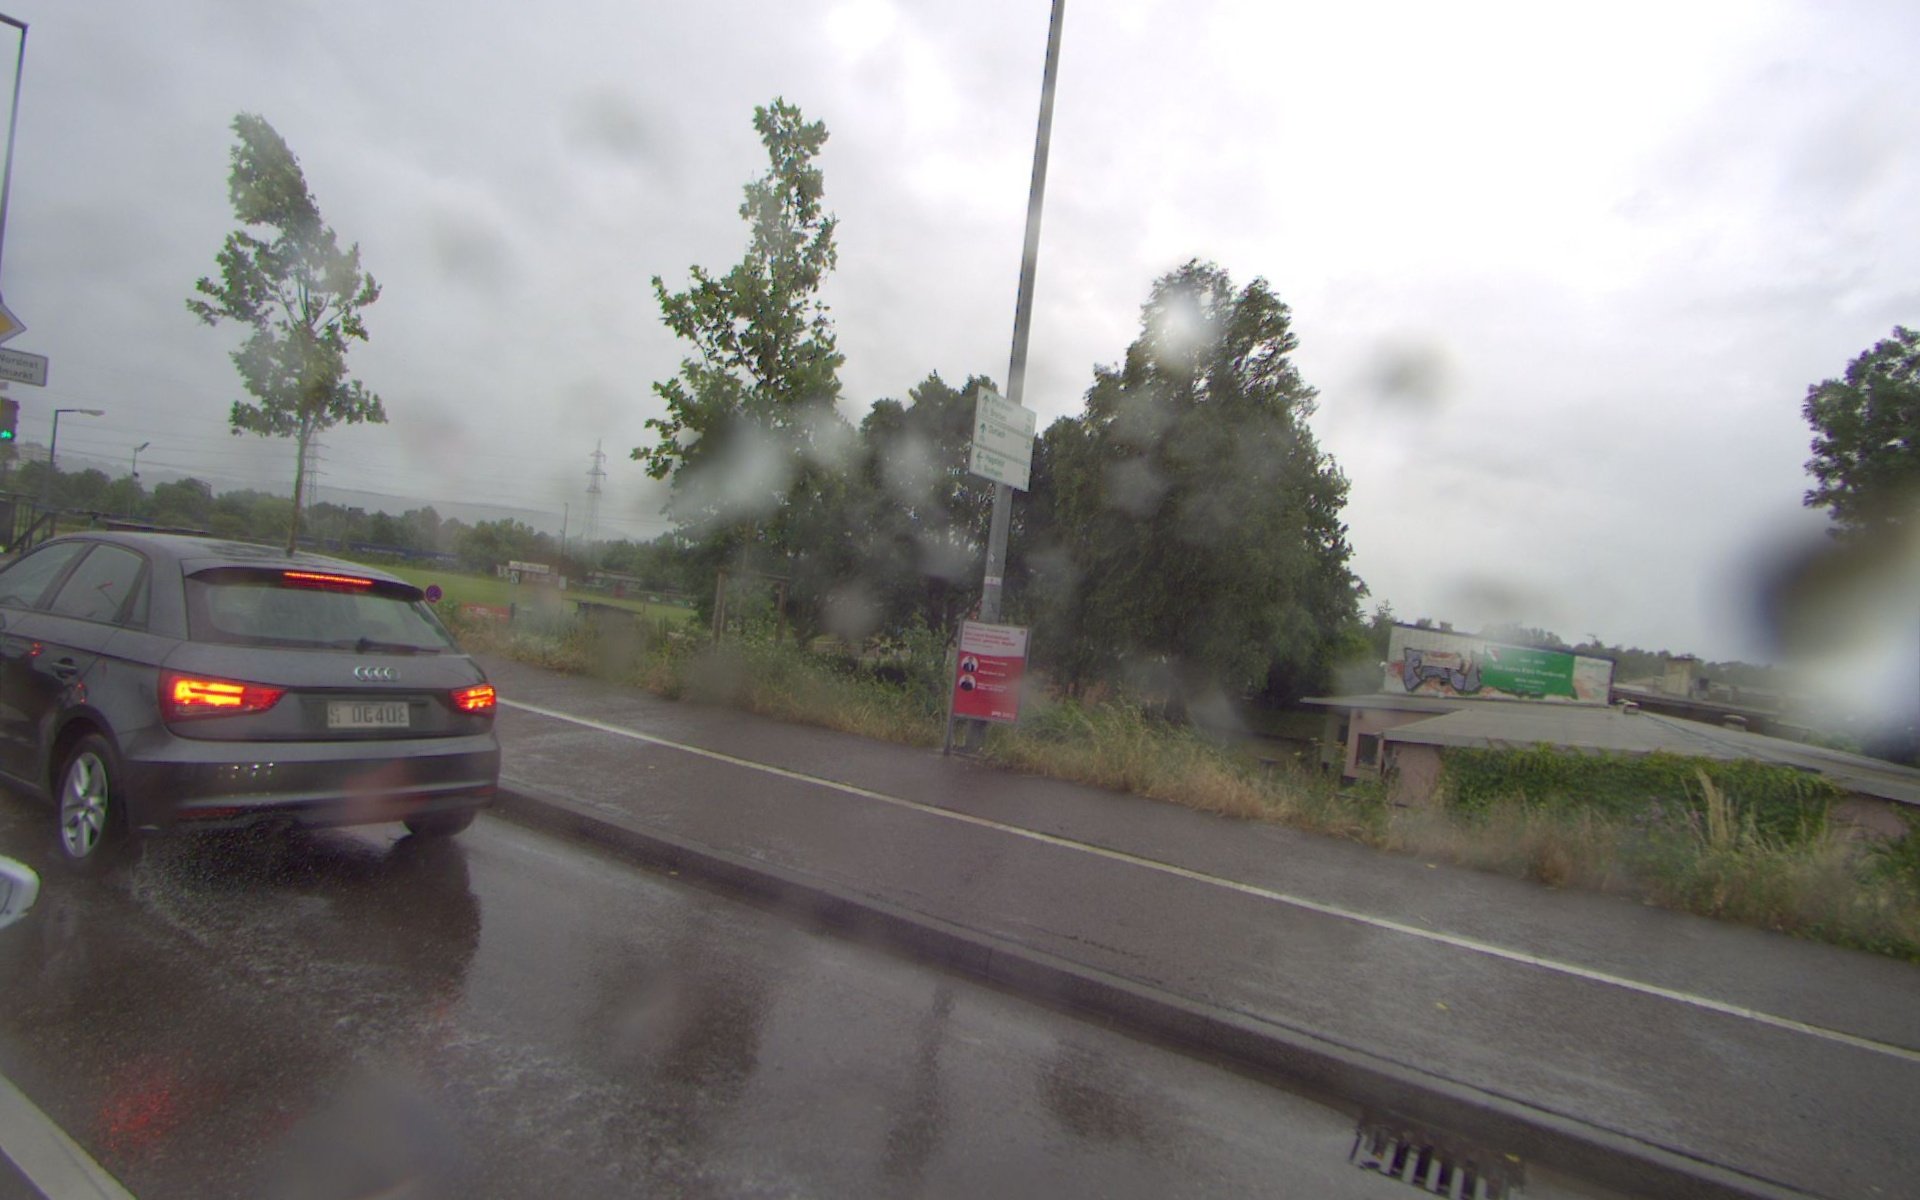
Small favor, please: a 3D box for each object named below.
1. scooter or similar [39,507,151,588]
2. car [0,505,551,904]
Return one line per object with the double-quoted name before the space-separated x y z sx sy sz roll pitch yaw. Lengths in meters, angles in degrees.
"scooter or similar" -16.010 -0.993 18.578 2.971 1.226 0.691 7 0 33
"car" -4.079 0.338 5.301 3.570 1.382 1.601 7 -2 30
